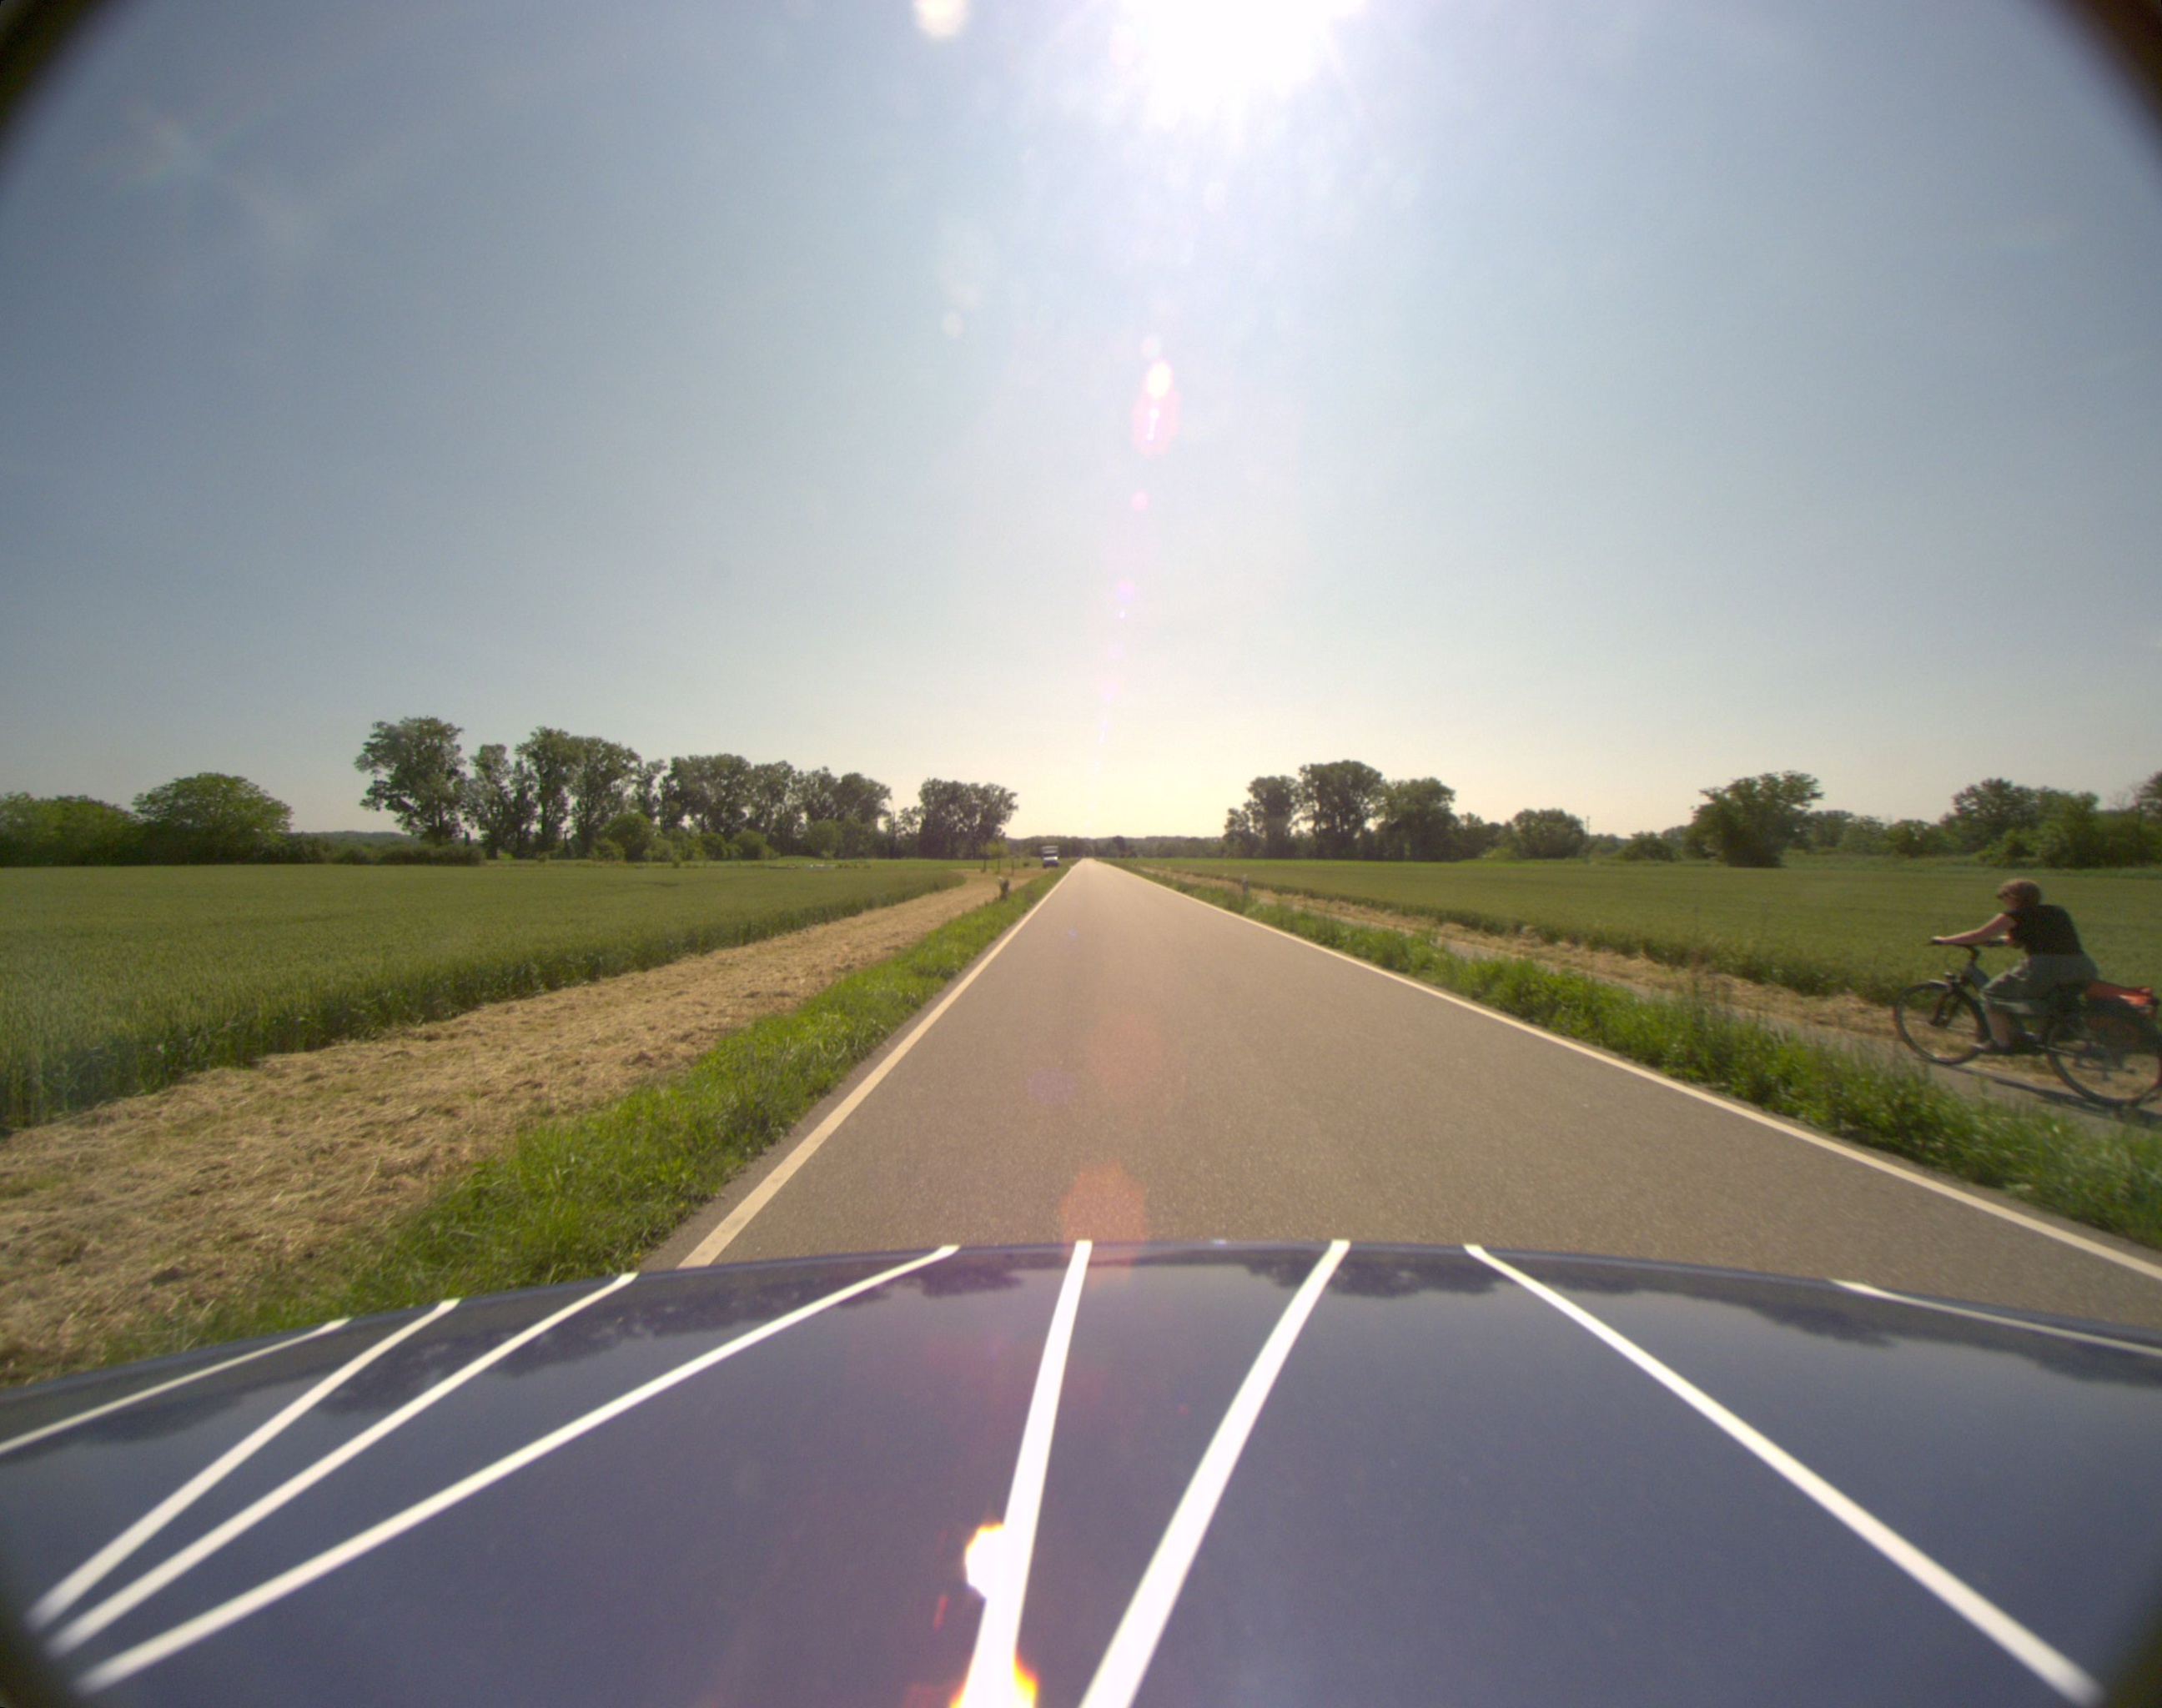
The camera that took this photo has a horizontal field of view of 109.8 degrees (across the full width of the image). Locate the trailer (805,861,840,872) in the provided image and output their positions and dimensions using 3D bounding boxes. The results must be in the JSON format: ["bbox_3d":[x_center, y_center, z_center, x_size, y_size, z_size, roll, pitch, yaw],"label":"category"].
[{"bbox_3d":[-31.007,1.529,91.314,3.591,1.182,1.665,-2,1,12],"label":"trailer"}]

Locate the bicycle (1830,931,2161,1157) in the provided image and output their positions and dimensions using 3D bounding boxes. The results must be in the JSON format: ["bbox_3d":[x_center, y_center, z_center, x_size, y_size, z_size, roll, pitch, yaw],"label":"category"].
[{"bbox_3d":[7.452,1.364,5.961,0.761,1.228,2.394,2,1,0],"label":"bicycle"}]

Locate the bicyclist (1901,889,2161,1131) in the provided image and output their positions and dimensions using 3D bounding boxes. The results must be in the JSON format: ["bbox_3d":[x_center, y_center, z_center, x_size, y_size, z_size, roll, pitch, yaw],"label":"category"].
[{"bbox_3d":[7.466,1.146,5.990,0.761,1.663,1.088,1,1,0],"label":"bicyclist"}]

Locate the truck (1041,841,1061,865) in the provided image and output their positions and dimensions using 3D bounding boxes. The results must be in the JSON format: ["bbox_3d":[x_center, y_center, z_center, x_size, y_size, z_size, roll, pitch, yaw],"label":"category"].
[{"bbox_3d":[-3.935,-0.118,101.296,2.342,2.925,7.007,-3,1,-2],"label":"truck"}]

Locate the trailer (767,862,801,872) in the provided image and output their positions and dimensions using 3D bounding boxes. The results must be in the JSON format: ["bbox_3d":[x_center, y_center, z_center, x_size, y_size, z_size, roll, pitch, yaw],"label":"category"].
[{"bbox_3d":[-36.145,1.602,92.511,3.543,1.182,1.665,-1,1,12],"label":"trailer"}]
